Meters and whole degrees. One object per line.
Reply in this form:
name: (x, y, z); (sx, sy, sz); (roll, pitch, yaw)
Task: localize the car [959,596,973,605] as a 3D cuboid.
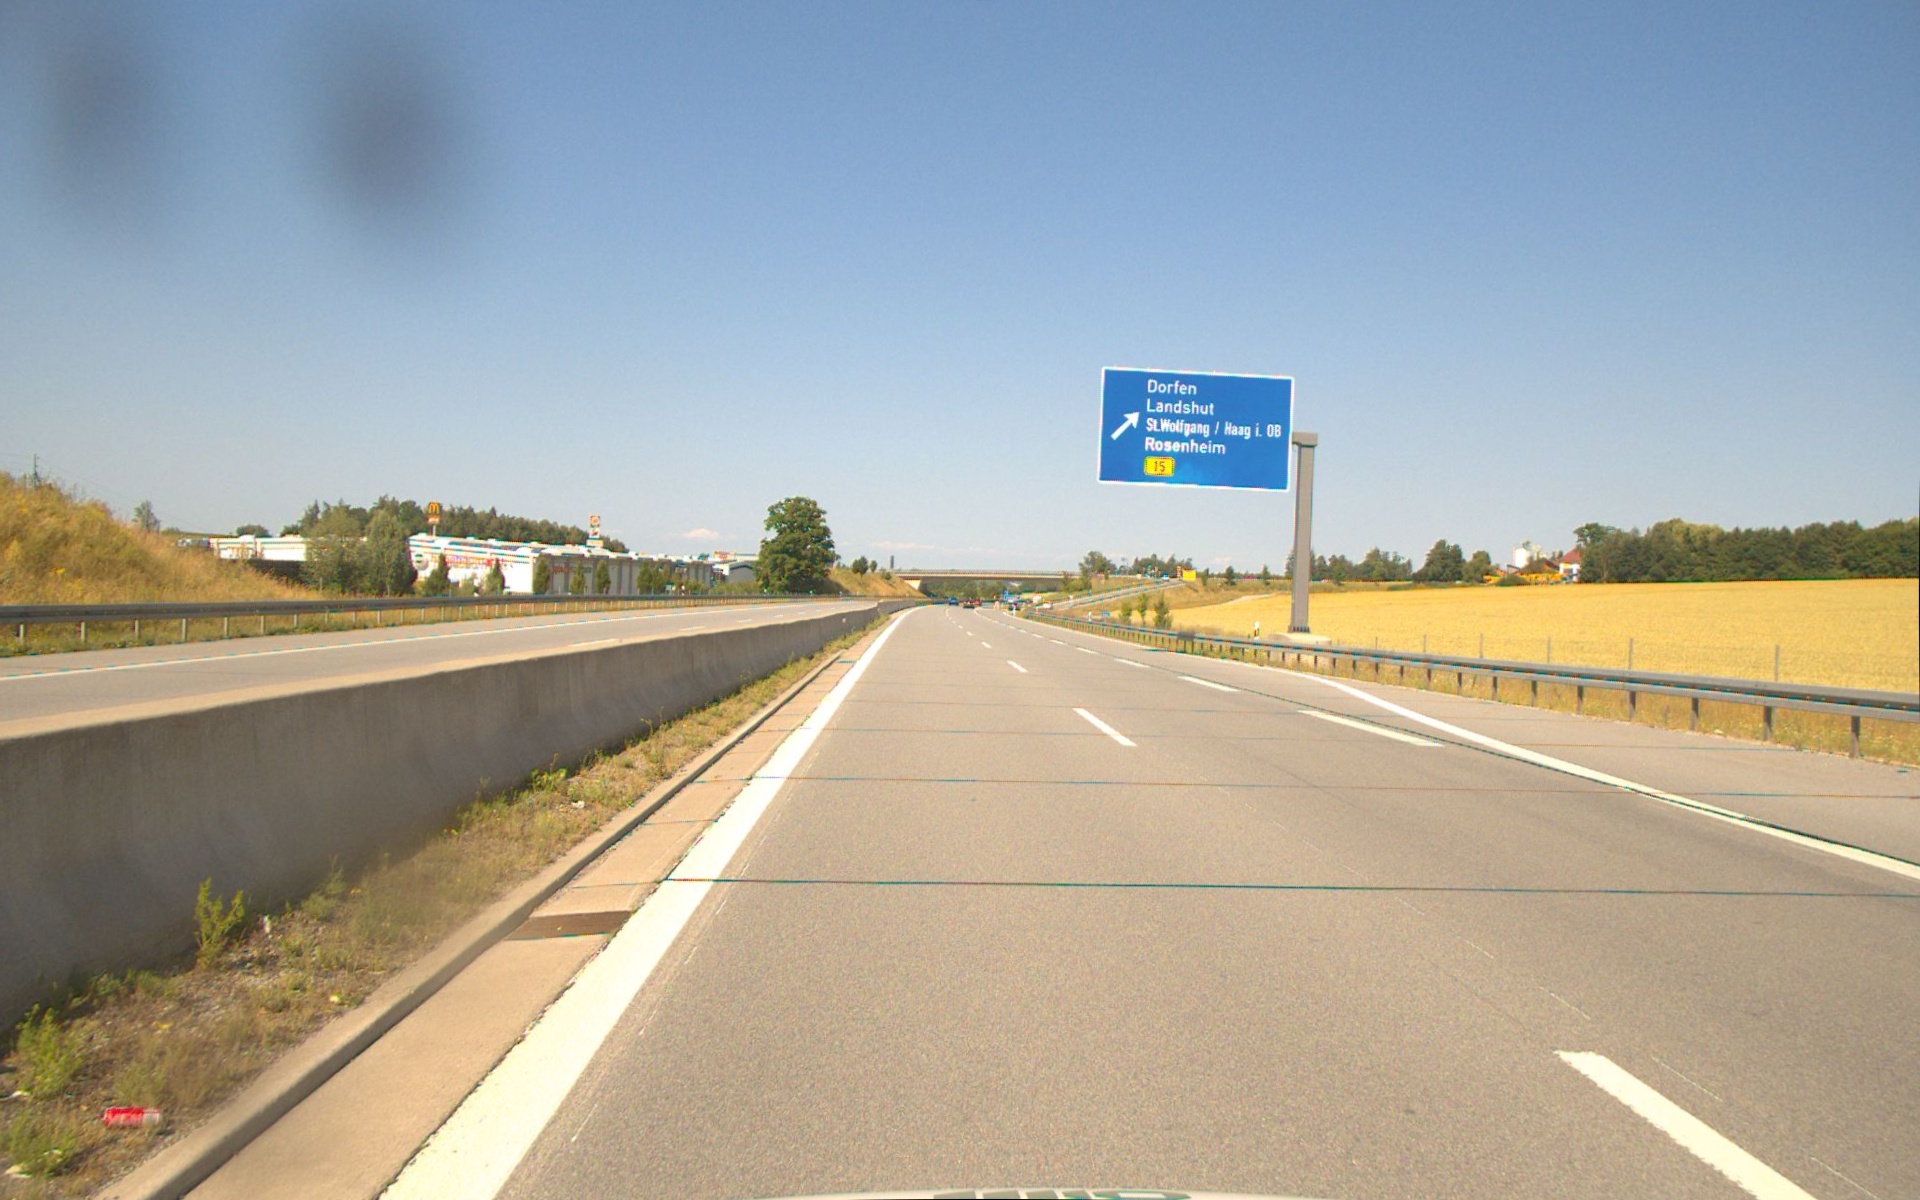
car: (0.917, 0.050, 259.592); (1.952, 1.445, 4.001); (2, 0, 2)
